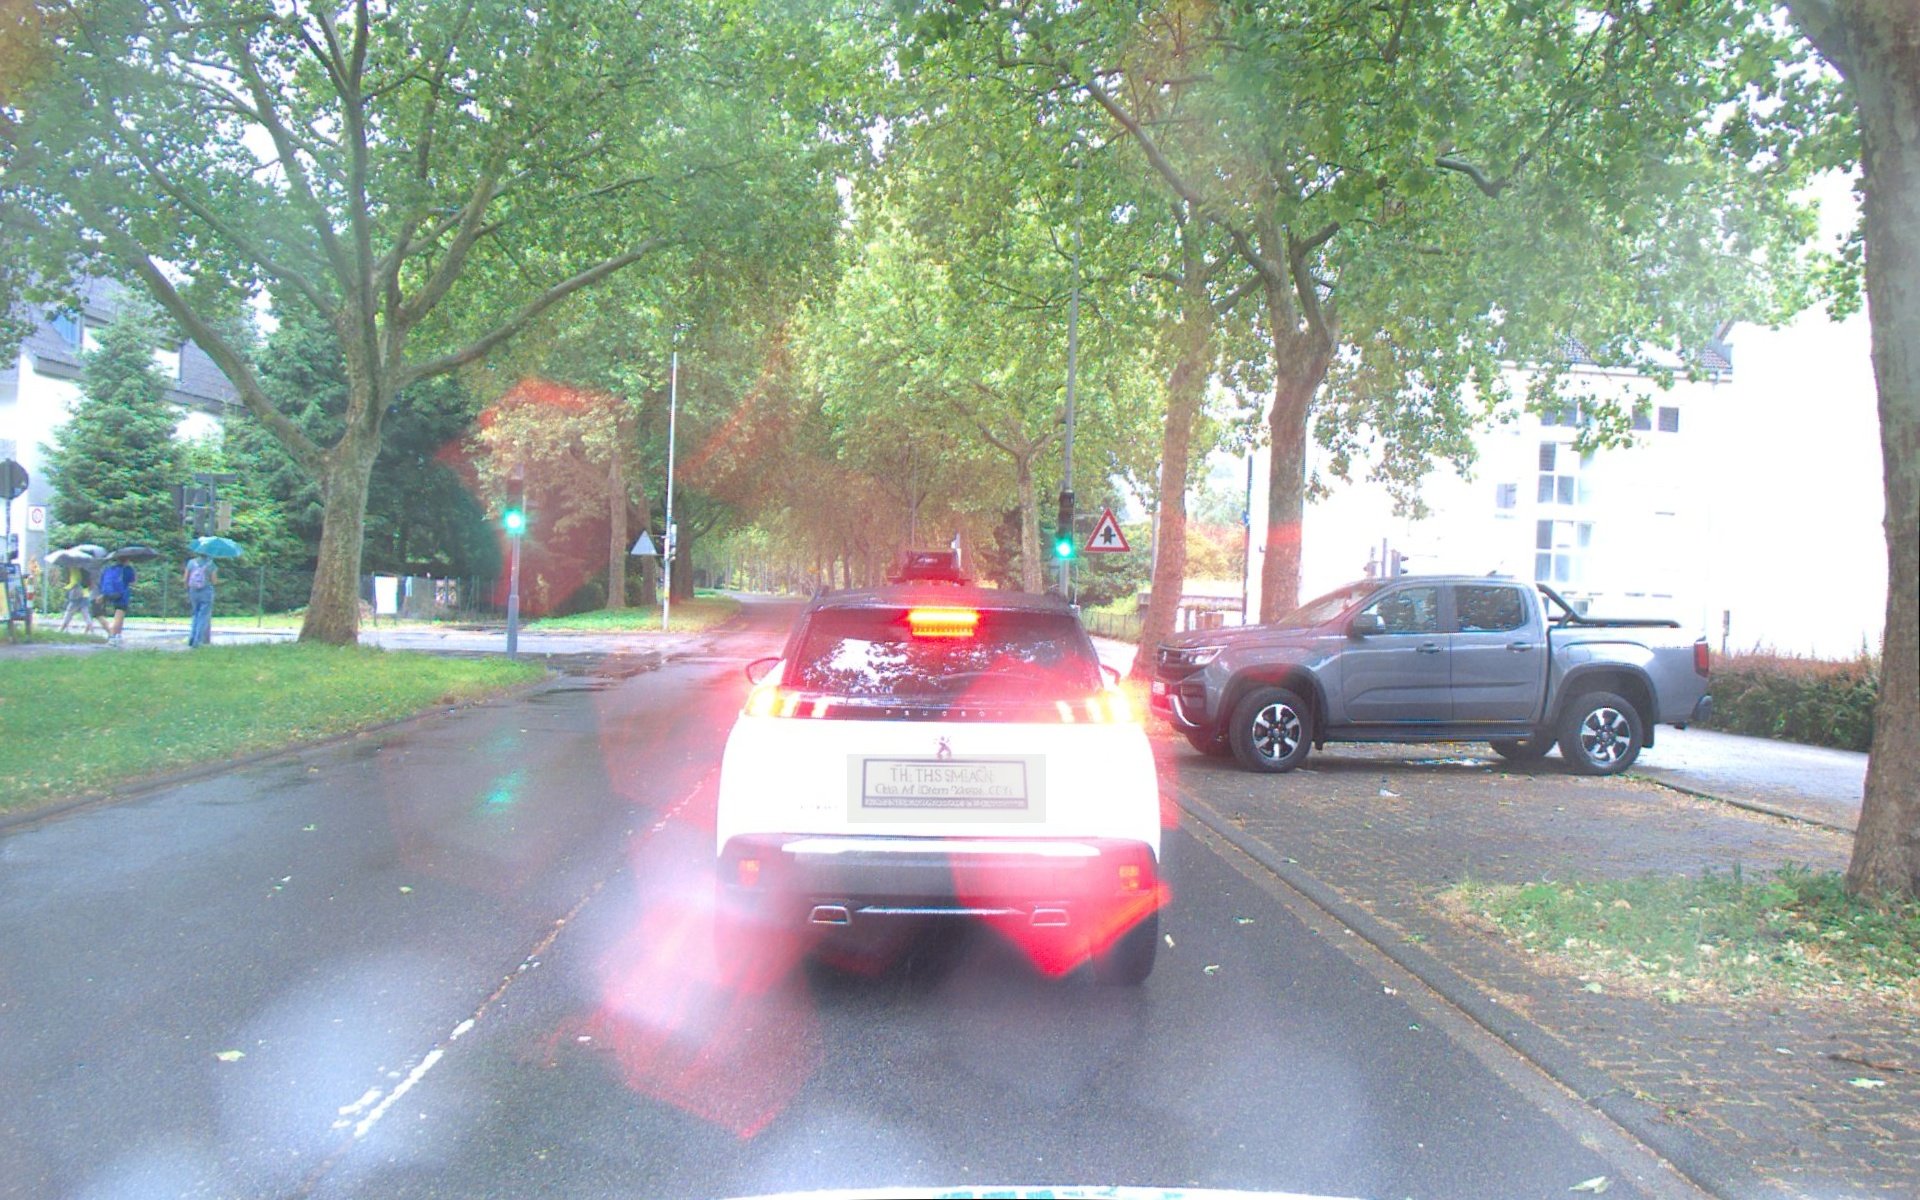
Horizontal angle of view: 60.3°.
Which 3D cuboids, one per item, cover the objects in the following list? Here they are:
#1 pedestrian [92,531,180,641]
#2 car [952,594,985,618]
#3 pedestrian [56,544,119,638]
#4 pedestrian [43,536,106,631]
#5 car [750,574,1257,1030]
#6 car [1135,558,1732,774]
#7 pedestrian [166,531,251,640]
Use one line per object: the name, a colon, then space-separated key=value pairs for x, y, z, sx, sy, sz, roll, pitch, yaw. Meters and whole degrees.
pedestrian: x=-13.909 y=-0.234 z=27.929 sx=1.012 sy=1.796 sz=0.879 roll=1 pitch=0 yaw=-1
car: x=0.583 y=0.371 z=111.744 sx=1.868 sy=1.536 sz=3.927 roll=2 pitch=0 yaw=-5
pedestrian: x=-17.080 y=-0.175 z=32.404 sx=0.842 sy=1.775 sz=0.639 roll=2 pitch=0 yaw=-4
pedestrian: x=-16.835 y=-0.311 z=31.462 sx=0.804 sy=1.775 sz=0.639 roll=2 pitch=0 yaw=-4
car: x=0.115 y=0.694 z=7.821 sx=1.744 sy=1.563 sz=4.056 roll=1 pitch=0 yaw=-1
car: x=4.490 y=0.622 z=16.016 sx=5.238 sy=1.838 sz=1.842 roll=2 pitch=0 yaw=-8
pedestrian: x=-12.654 y=-0.241 z=27.875 sx=1.012 sy=1.796 sz=0.838 roll=1 pitch=0 yaw=-1
